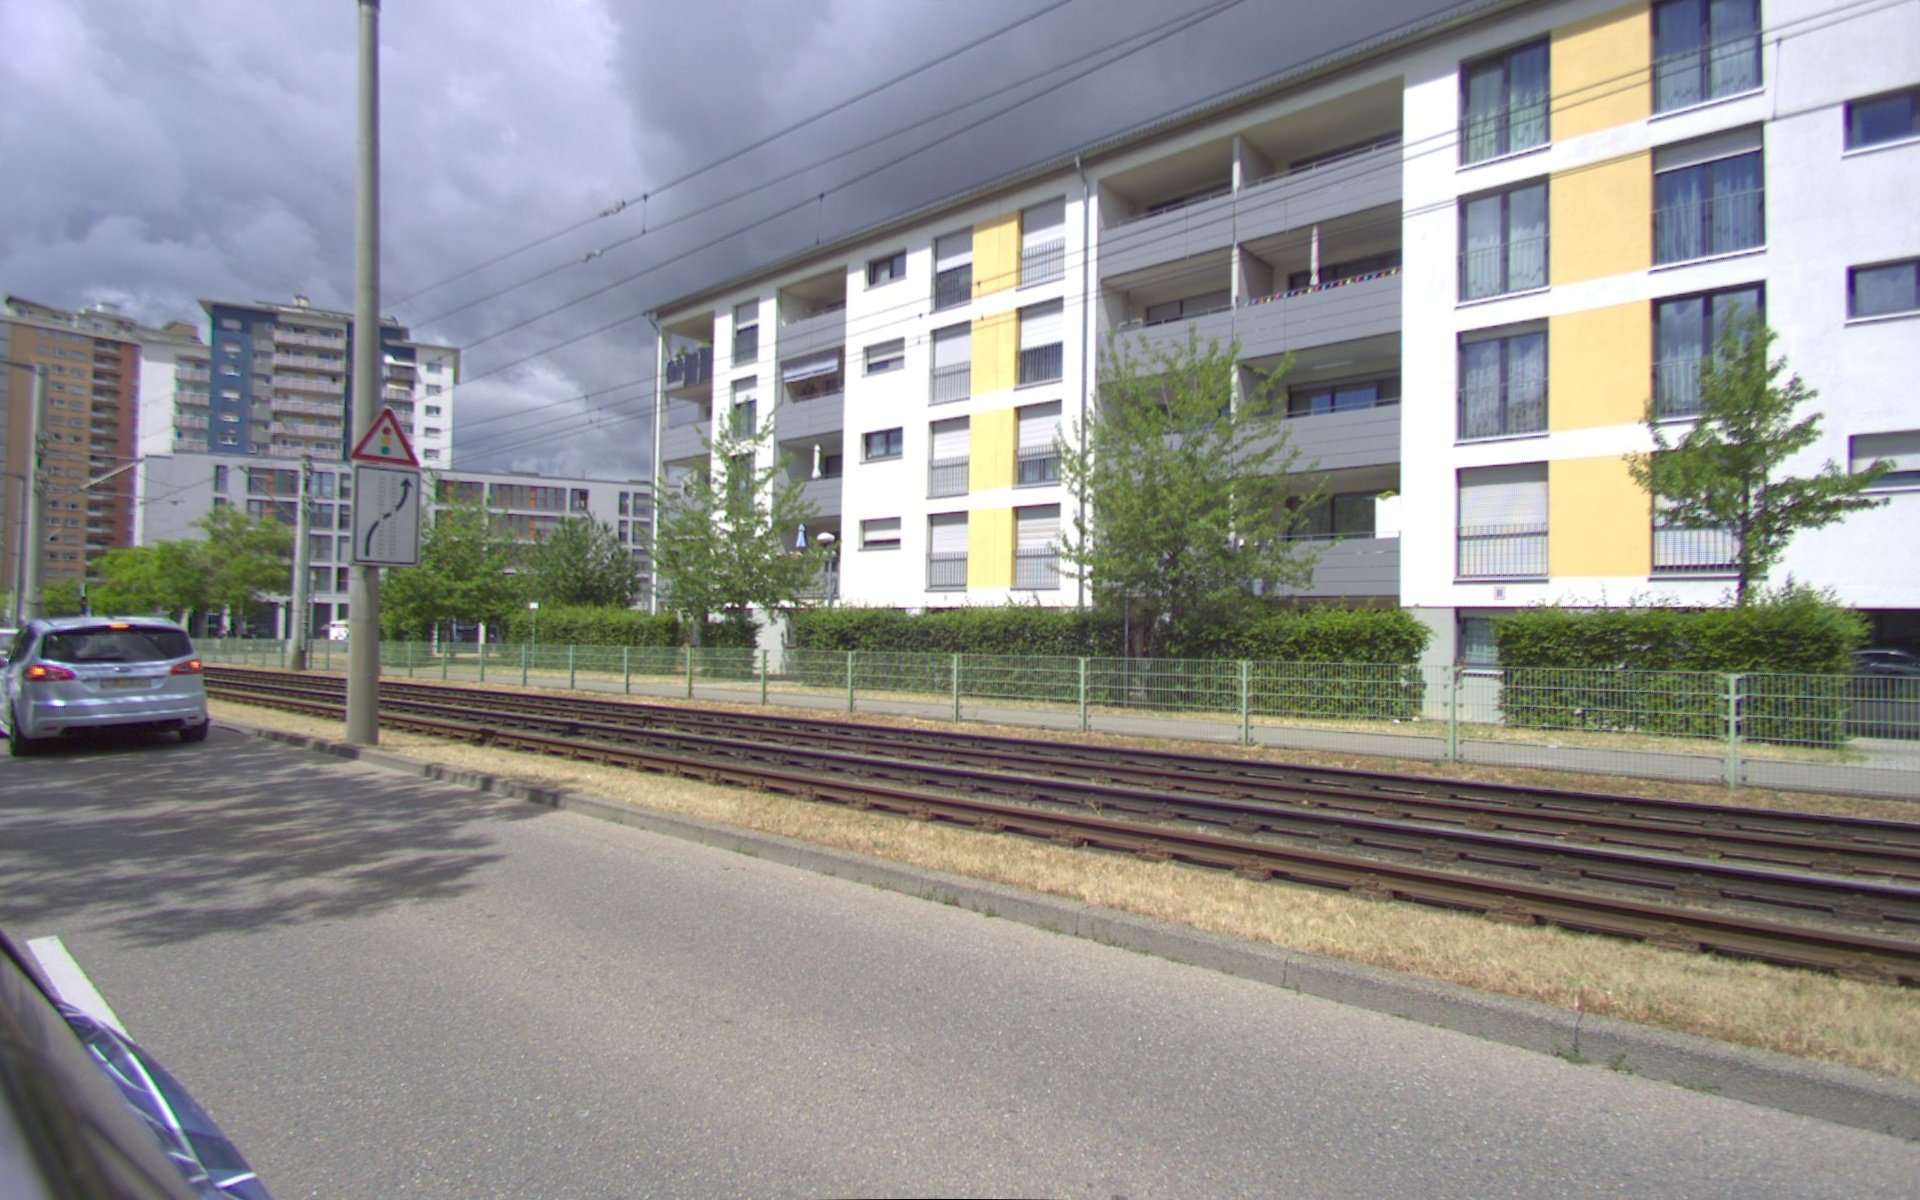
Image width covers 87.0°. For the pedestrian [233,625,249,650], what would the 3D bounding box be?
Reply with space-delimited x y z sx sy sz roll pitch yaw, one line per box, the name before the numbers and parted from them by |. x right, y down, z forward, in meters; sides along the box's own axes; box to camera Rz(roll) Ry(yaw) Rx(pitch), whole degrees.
pedestrian | -47.283 2.459 66.582 0.538 1.666 0.740 -2 -2 40

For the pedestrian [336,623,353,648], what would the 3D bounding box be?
pedestrian | -39.226 2.268 64.486 0.743 1.623 0.535 -1 -2 18

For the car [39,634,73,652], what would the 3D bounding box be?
car | -82.318 3.910 92.166 3.800 1.551 1.759 -1 -2 40

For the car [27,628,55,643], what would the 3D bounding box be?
car | -101.085 3.915 111.301 3.800 1.672 1.759 -1 -2 40

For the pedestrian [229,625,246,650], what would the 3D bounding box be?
pedestrian | -47.963 2.467 67.180 0.538 1.666 0.740 -2 -2 40

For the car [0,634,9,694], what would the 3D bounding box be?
car | -24.569 1.524 24.496 3.936 1.417 1.729 -1 -2 39

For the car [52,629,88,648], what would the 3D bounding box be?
car | -77.509 3.333 88.116 3.800 1.551 1.759 -1 -2 40

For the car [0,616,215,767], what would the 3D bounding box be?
car | -11.406 1.042 13.175 4.599 1.626 1.798 -1 -1 41

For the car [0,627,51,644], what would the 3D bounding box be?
car | -104.944 3.956 113.511 1.855 1.940 4.496 0 -2 -1

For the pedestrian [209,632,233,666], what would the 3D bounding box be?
pedestrian | -36.828 2.434 50.442 0.937 1.625 0.746 -2 -2 40

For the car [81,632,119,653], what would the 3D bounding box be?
car | -67.929 3.339 79.934 3.804 1.635 1.868 -2 -2 44

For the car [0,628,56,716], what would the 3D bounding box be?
car | -18.677 1.302 19.062 4.833 1.514 1.799 -1 -1 40
